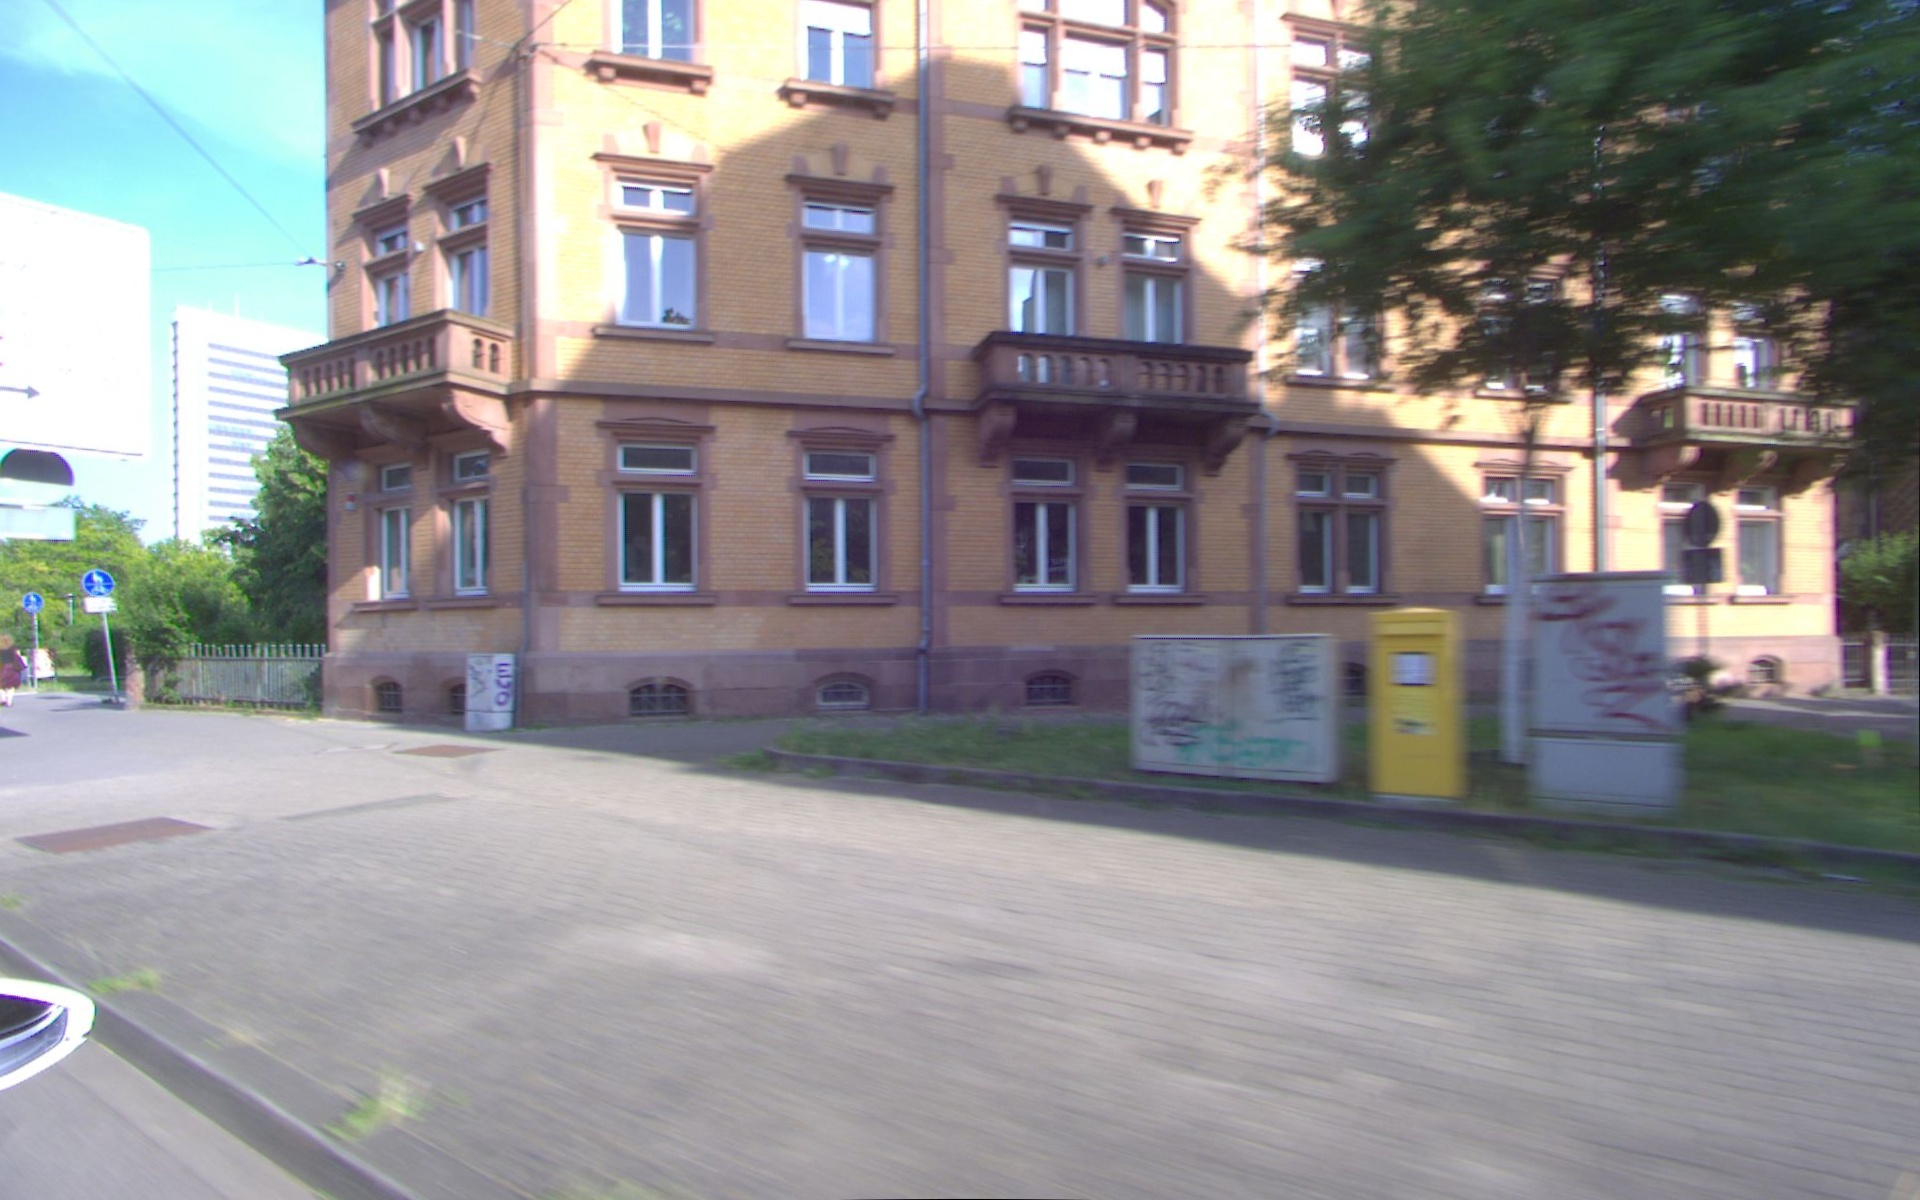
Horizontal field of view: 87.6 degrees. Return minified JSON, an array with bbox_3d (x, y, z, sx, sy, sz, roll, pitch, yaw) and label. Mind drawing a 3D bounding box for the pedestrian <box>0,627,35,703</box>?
[{"bbox_3d":[-22.433,1.521,23.659,0.541,1.716,0.613,-1,4,34],"label":"pedestrian"}]
